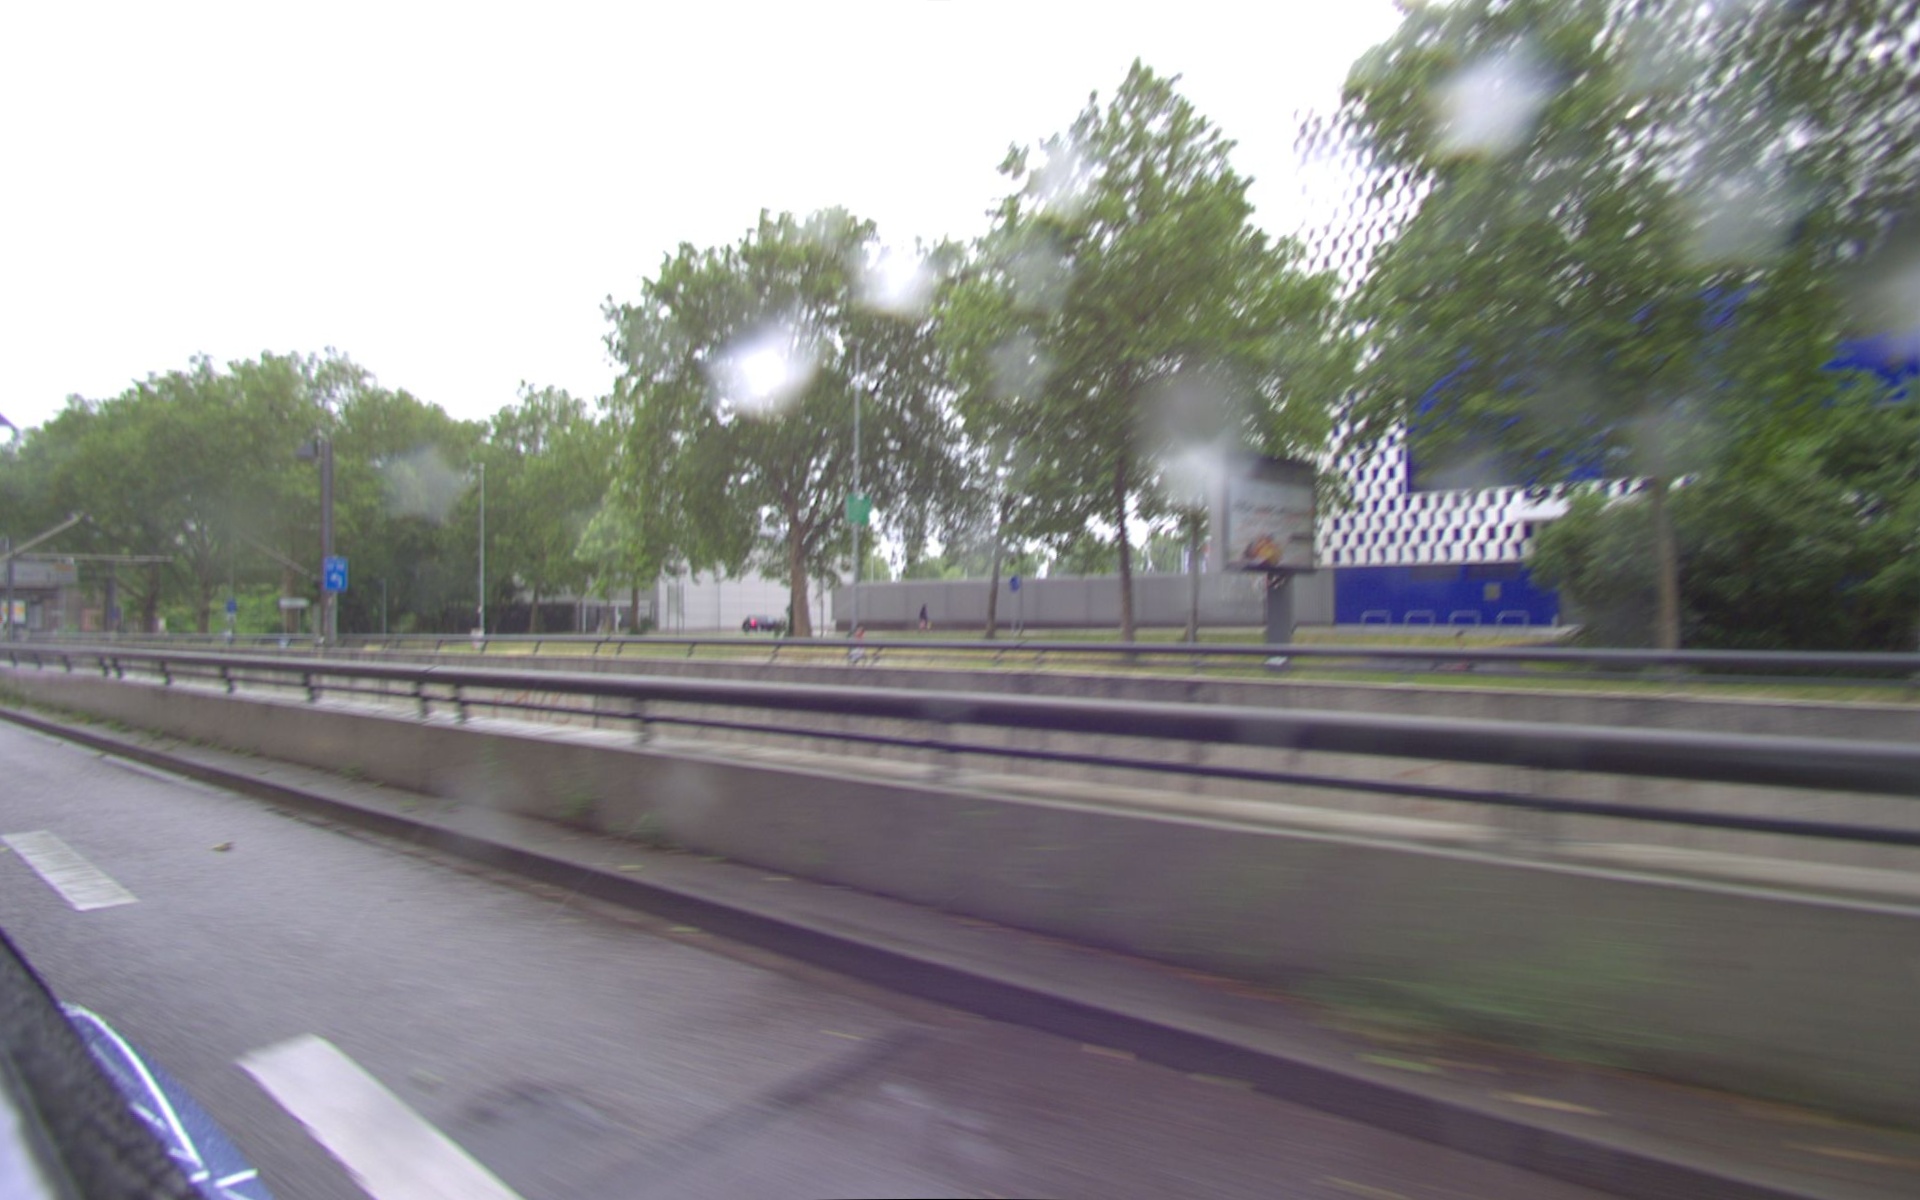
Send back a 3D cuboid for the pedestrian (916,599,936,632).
[{"bbox_3d":[-2.135,0.960,63.315,0.789,2.029,0.991,-1,1,40],"label":"pedestrian"}]
